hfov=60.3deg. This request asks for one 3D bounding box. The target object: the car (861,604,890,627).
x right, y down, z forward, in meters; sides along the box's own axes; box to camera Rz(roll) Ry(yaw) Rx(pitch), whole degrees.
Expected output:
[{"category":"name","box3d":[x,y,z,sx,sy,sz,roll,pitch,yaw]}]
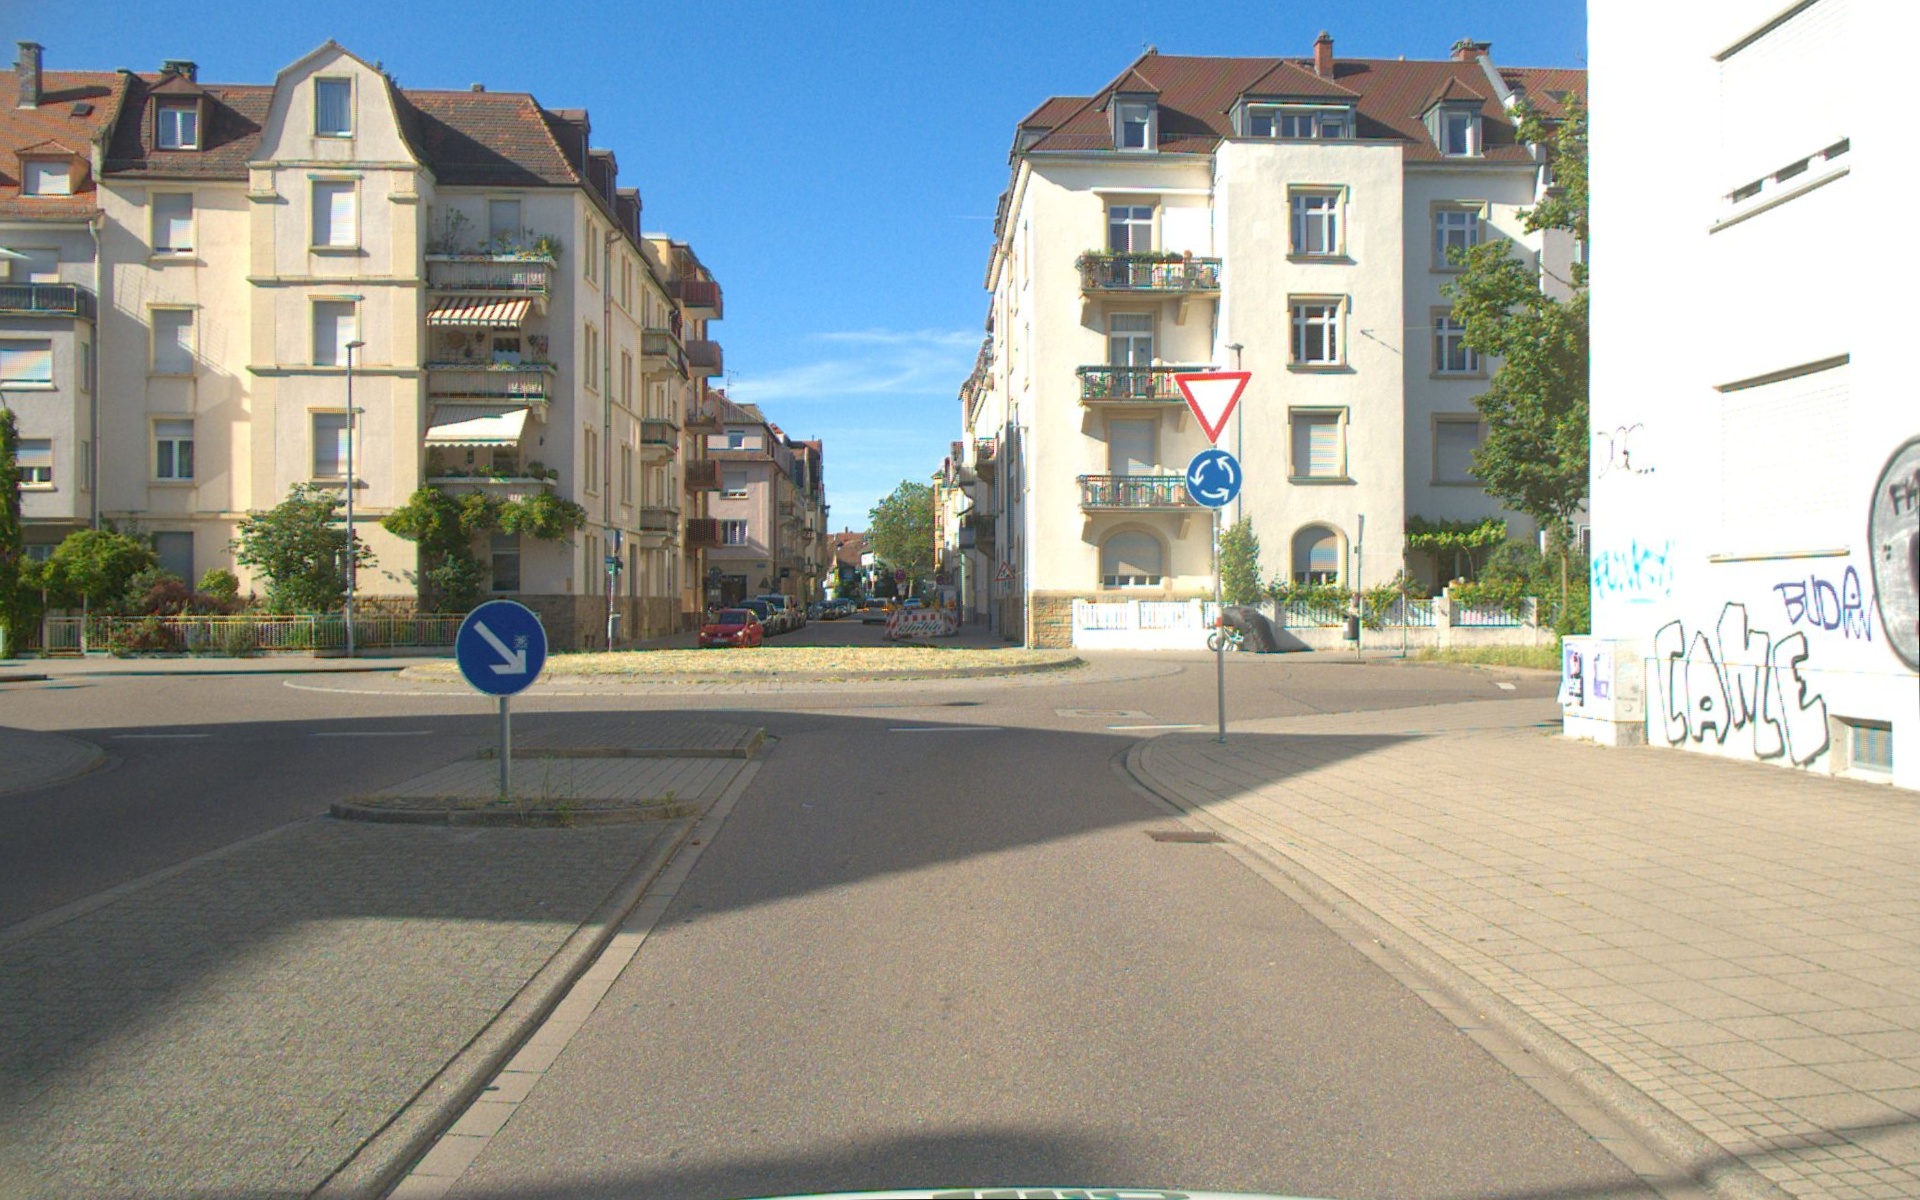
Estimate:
[{"category":"car","box3d":[-5.646,1.046,110.449,1.801,1.457,4.027,-1,-2,-2]}]

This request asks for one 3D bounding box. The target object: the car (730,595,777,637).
[{"category":"car","box3d":[-9.265,0.718,74.604,1.727,1.802,4.292,1,0,-2]}]

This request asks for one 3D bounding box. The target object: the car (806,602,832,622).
[{"category":"car","box3d":[-11.091,0.986,129.948,1.645,1.451,4.273,2,-1,0]}]

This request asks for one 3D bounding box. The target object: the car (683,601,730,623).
[{"category":"car","box3d":[-18.351,0.846,119.686,3.472,1.464,1.693,2,1,44]}]

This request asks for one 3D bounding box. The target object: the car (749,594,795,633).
[{"category":"car","box3d":[-9.673,0.683,85.379,1.936,1.959,5.306,1,0,-2]}]

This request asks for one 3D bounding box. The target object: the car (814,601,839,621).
[{"category":"car","box3d":[-11.890,0.998,147.576,1.964,1.647,4.484,2,-1,-3]}]

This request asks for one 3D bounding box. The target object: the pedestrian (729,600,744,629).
[{"category":"pedestrian","box3d":[-14.431,0.924,106.986,0.906,1.849,0.993,1,-1,-6]}]

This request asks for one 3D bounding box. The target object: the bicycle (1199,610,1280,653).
[{"category":"bicycle","box3d":[8.024,0.889,47.572,2.244,1.178,0.762,0,-1,41]}]

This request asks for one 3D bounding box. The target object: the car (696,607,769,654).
[{"category":"car","box3d":[-7.565,1.000,55.218,1.676,1.406,4.002,-2,1,3]}]
